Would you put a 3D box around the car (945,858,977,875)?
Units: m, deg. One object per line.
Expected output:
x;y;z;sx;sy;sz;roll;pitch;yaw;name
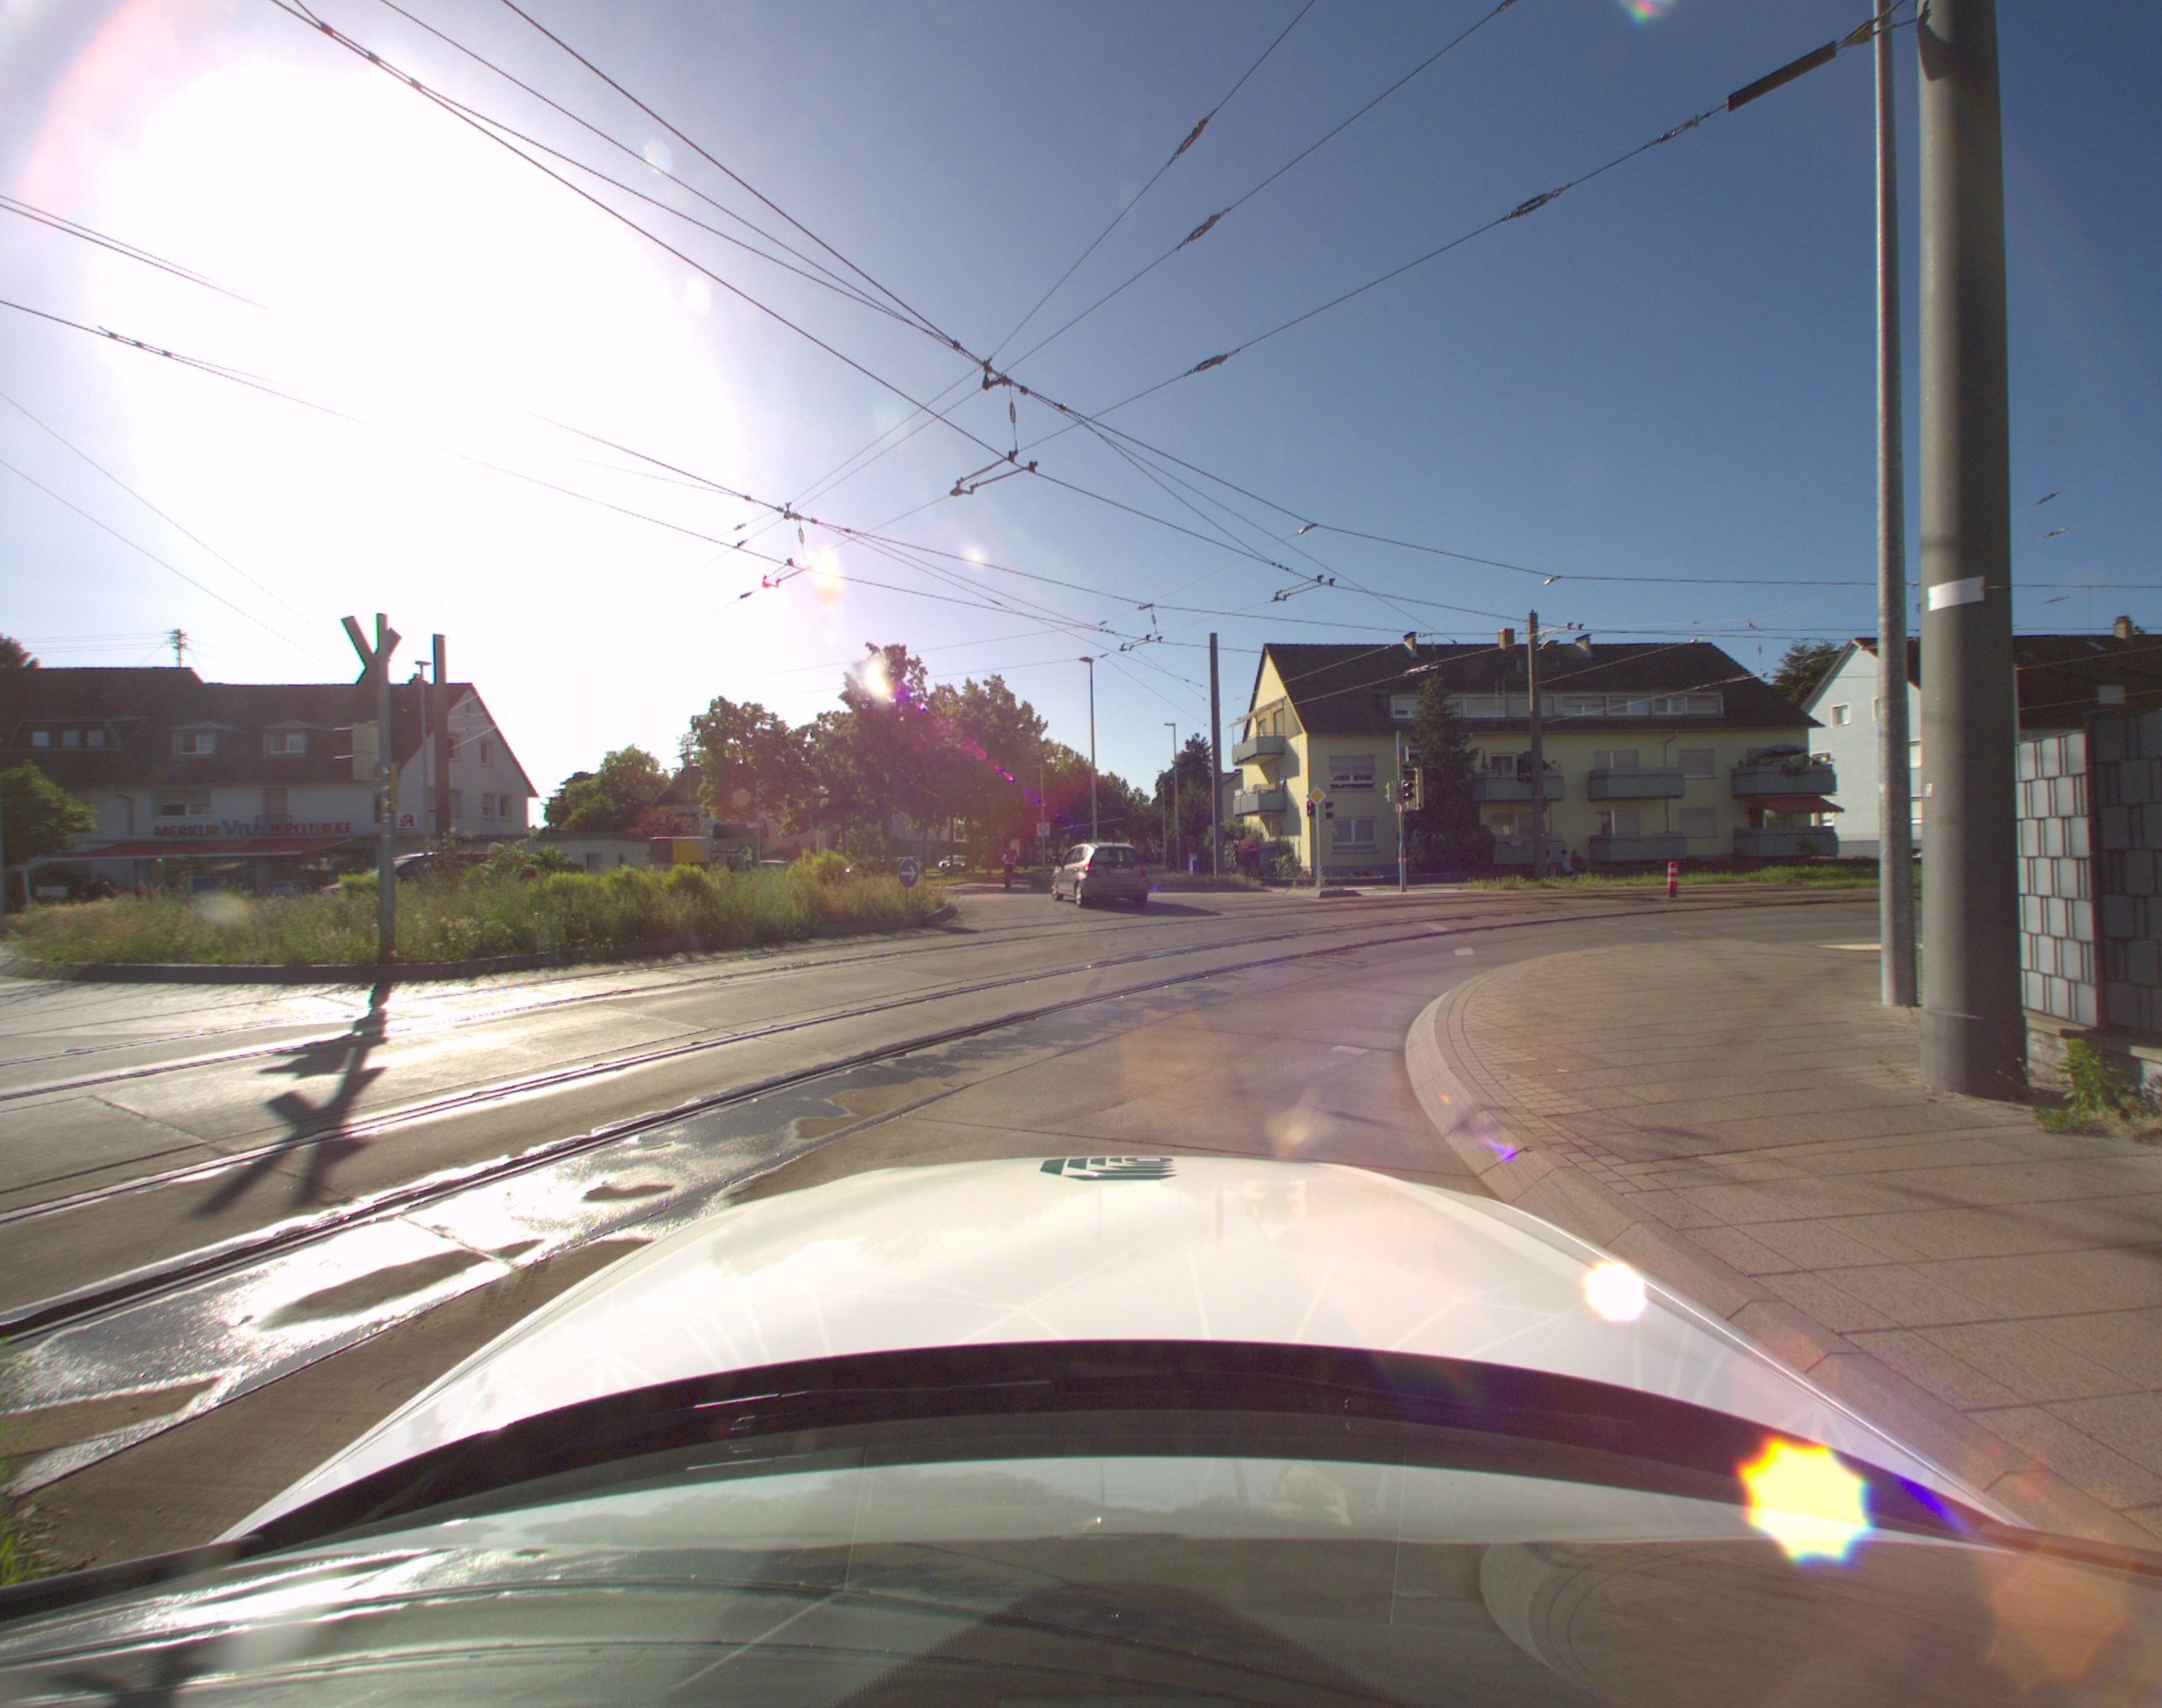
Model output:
-11.131;1.131;75.920;1.820;1.580;4.450;0;0;8;car

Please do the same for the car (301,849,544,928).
-19.641;0.939;24.647;1.975;1.981;5.270;-2;1;26;car

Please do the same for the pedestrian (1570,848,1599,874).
19.194;0.267;31.056;0.596;1.006;0.718;0;0;-27;pedestrian

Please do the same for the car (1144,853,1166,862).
12.208;0.561;134.522;3.502;1.533;1.579;0;0;3;car

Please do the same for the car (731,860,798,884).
-22.878;1.309;59.025;4.019;1.694;2.003;0;0;4;car

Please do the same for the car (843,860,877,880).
-16.895;1.169;62.382;1.796;1.464;3.796;0;0;-4;car

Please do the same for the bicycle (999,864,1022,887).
-3.262;1.009;37.618;0.768;1.037;1.525;0;-2;-17;bicycle

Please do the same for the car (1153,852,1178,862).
11.787;0.429;113.812;3.502;1.296;1.579;0;0;3;car

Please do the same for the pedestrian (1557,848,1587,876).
18.584;0.305;30.834;0.629;1.064;0.811;0;0;-36;pedestrian

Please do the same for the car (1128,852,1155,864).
7.746;0.544;104.668;3.464;1.493;1.553;0;0;3;car

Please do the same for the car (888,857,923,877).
-15.769;1.143;73.337;1.985;1.699;4.222;0;0;3;car

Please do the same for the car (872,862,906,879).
-16.131;1.351;68.532;1.955;1.324;3.999;0;0;-1;car

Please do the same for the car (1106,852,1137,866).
4.680;0.586;94.418;3.393;1.533;1.528;-2;0;7;car

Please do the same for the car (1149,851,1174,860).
11.241;0.234;113.947;3.502;1.279;1.579;0;0;3;car

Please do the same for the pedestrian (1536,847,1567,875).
17.732;0.264;30.704;0.685;1.046;0.818;-1;0;-6;pedestrian

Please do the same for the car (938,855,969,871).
-13.992;0.970;89.834;1.983;1.773;5.070;0;0;7;car

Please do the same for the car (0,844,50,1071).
-10.146;0.820;5.561;4.222;1.670;1.821;-1;0;6;car

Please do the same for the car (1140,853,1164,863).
10.813;0.565;123.934;3.502;1.533;1.579;0;0;3;car

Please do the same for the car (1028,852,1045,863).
-6.974;0.592;128.005;1.982;1.699;4.228;0;0;8;car

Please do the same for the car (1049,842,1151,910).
0.375;0.477;20.661;1.689;1.490;3.898;-2;1;-12;car

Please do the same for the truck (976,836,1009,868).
-11.604;-0.263;107.431;3.056;3.993;8.016;0;0;3;truck

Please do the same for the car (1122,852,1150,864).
6.713;0.502;99.928;3.345;1.533;1.524;0;0;3;car

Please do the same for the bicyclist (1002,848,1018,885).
-3.313;0.582;37.940;0.604;1.714;0.541;-1;-4;-17;bicyclist
